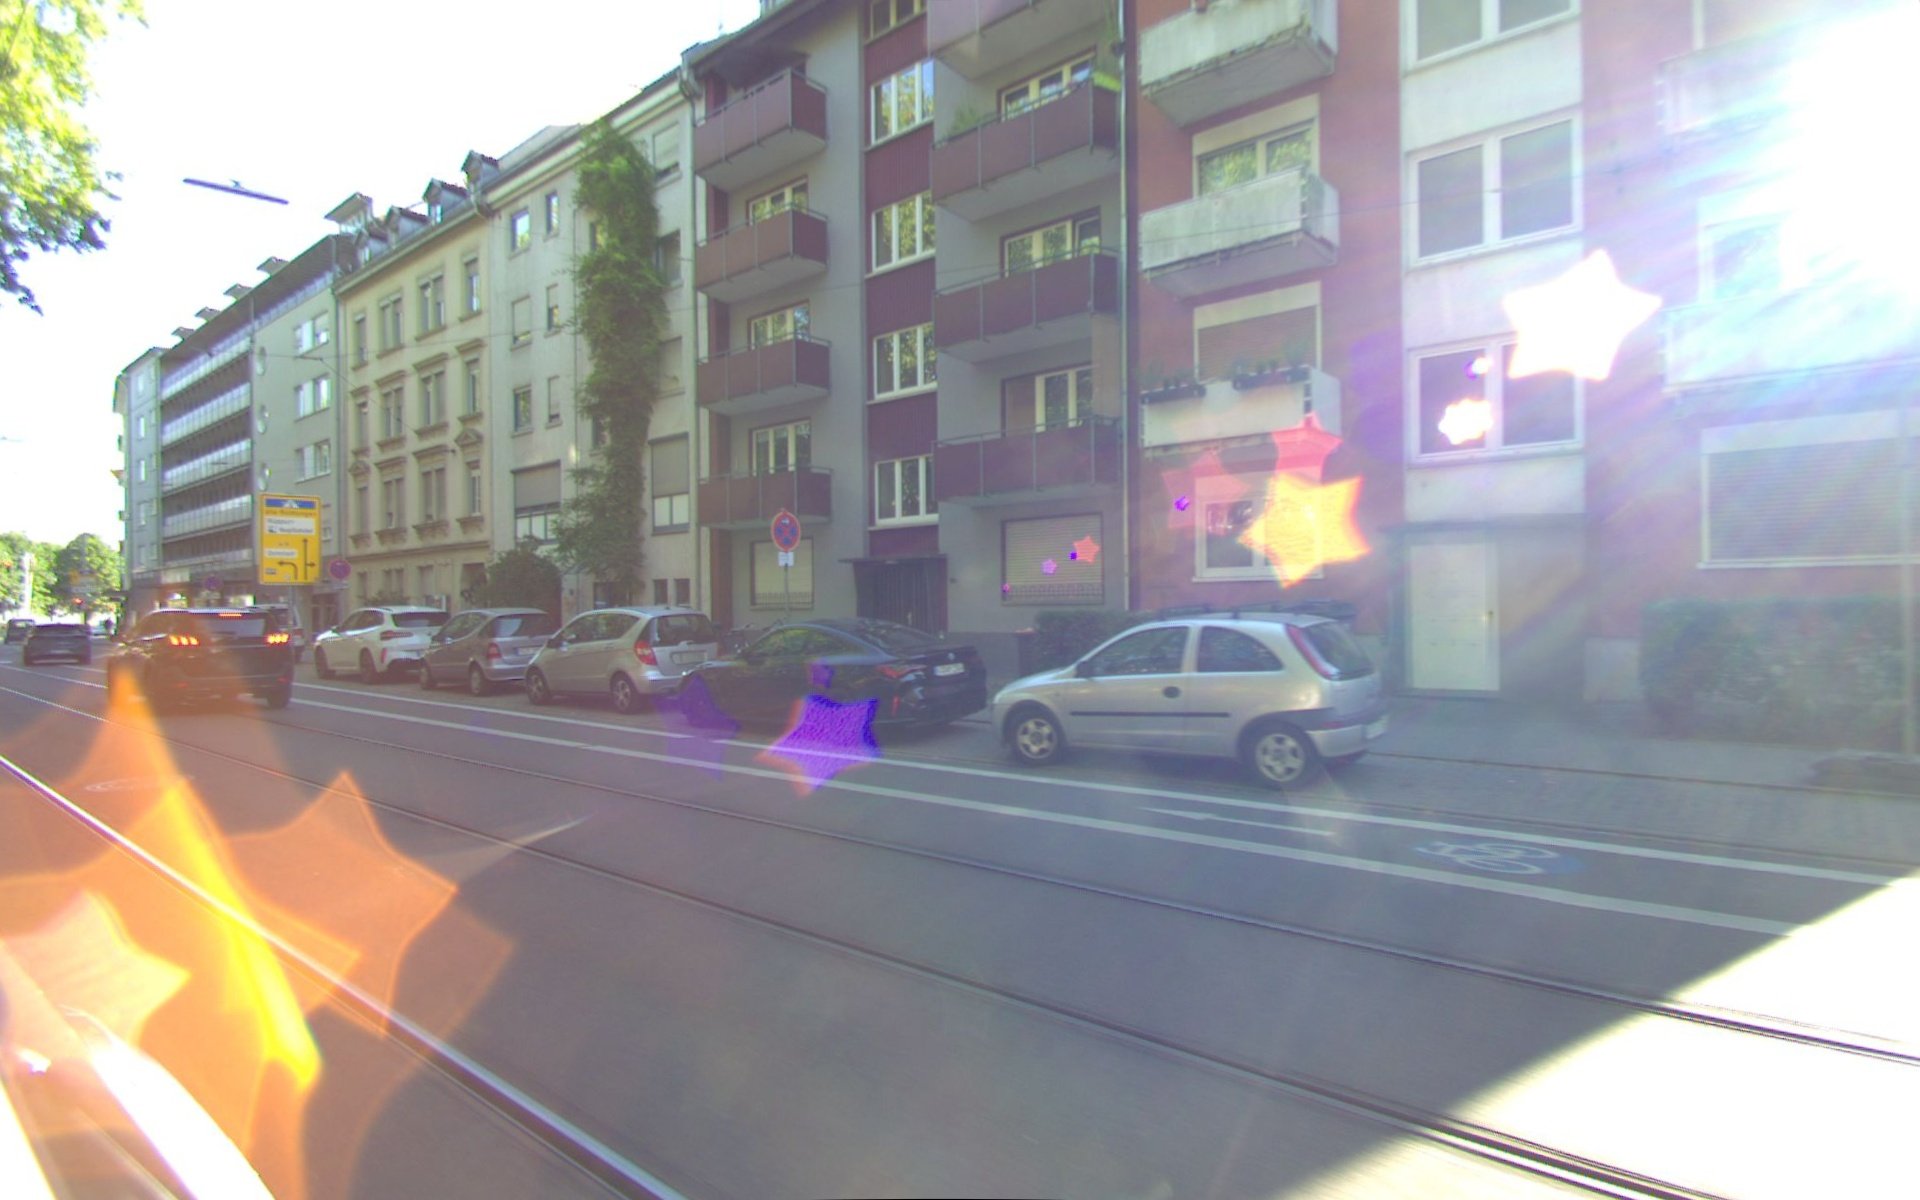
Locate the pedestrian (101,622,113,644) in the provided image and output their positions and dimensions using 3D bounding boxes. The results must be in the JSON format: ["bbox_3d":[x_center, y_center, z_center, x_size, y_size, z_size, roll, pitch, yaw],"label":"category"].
[{"bbox_3d":[-65.872,2.513,78.130,0.706,1.686,0.905,0,-1,-40],"label":"pedestrian"}]

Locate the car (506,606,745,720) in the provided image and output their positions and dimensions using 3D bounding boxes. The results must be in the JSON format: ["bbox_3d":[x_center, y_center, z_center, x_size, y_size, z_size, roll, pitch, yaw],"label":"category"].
[{"bbox_3d":[-5.521,0.951,16.504,4.000,1.599,1.802,-1,0,39],"label":"car"}]

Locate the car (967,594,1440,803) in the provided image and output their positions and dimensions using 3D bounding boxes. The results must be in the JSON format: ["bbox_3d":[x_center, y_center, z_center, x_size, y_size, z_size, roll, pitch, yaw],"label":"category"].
[{"bbox_3d":[2.144,0.768,9.465,3.926,1.494,1.708,-1,1,40],"label":"car"}]

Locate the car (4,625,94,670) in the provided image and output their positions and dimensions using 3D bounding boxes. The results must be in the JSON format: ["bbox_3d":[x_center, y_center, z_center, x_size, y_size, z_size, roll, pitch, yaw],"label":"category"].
[{"bbox_3d":[-31.120,1.581,34.541,4.050,1.457,1.777,-2,-2,41],"label":"car"}]

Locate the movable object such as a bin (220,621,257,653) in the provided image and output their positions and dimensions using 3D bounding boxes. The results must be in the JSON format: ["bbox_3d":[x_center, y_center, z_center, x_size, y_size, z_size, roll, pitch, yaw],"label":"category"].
[{"bbox_3d":[-34.383,1.761,48.220,1.212,1.461,1.129,-2,-1,36],"label":"movable object such as a bin"}]

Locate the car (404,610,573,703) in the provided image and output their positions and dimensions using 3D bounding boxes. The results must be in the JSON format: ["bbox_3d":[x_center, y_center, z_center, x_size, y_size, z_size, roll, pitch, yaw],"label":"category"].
[{"bbox_3d":[-9.240,1.018,19.715,3.780,1.583,1.609,-1,1,42],"label":"car"}]

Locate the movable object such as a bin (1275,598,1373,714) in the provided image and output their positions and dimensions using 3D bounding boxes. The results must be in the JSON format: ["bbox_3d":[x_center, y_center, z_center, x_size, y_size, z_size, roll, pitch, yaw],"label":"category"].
[{"bbox_3d":[4.581,0.679,12.722,0.747,1.375,1.198,-1,-1,42],"label":"movable object such as a bin"}]

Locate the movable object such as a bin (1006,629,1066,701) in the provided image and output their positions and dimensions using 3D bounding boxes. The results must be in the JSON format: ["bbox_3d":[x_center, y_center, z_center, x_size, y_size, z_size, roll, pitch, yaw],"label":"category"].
[{"bbox_3d":[1.154,0.977,15.417,0.721,1.056,0.559,-1,-1,42],"label":"movable object such as a bin"}]

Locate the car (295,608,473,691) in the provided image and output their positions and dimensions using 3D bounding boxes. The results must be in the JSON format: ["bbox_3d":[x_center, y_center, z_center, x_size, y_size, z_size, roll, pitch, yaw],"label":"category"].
[{"bbox_3d":[-13.272,1.058,23.194,4.877,1.661,1.933,-1,1,40],"label":"car"}]

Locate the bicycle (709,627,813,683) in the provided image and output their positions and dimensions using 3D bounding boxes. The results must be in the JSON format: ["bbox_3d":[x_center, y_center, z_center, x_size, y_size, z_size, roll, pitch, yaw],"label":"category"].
[{"bbox_3d":[-4.237,1.149,21.713,0.698,1.000,2.268,-1,1,37],"label":"bicycle"}]

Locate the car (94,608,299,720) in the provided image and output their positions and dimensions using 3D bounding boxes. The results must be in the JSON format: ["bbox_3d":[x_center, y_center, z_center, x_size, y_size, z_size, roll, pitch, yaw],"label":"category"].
[{"bbox_3d":[-12.733,0.964,16.772,4.461,1.612,1.834,-1,-1,41],"label":"car"}]

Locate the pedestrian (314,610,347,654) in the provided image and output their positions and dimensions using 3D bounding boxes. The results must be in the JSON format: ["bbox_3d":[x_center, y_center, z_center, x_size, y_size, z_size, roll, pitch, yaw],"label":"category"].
[{"bbox_3d":[-26.669,1.342,42.883,0.729,1.827,0.953,-2,1,41],"label":"pedestrian"}]

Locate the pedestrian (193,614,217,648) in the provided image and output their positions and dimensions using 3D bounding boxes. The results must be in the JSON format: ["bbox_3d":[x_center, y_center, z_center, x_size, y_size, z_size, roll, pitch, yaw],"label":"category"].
[{"bbox_3d":[-40.488,1.652,54.257,0.819,1.726,0.779,-2,2,40],"label":"pedestrian"}]

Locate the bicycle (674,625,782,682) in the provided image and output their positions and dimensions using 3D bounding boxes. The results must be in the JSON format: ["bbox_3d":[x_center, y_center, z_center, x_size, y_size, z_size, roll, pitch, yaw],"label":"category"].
[{"bbox_3d":[-5.105,1.148,22.468,0.698,1.070,2.428,-1,1,37],"label":"bicycle"}]

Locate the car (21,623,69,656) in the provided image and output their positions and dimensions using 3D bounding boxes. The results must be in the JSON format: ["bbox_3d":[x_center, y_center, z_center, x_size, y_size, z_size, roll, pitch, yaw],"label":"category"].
[{"bbox_3d":[-47.595,2.021,52.688,1.774,1.456,4.723,1,1,-42],"label":"car"}]

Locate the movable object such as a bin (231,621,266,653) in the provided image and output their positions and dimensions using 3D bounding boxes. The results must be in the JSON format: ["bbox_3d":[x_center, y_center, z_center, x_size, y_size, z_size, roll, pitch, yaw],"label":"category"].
[{"bbox_3d":[-33.386,1.736,47.495,1.208,1.461,1.047,-2,-1,36],"label":"movable object such as a bin"}]

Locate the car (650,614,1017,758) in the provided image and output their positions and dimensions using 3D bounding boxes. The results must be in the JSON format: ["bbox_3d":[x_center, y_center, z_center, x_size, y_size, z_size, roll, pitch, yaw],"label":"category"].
[{"bbox_3d":[-1.792,0.967,13.051,4.861,1.405,1.932,-1,2,42],"label":"car"}]

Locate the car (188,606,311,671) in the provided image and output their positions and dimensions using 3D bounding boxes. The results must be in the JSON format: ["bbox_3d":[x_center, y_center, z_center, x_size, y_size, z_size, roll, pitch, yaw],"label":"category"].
[{"bbox_3d":[-21.481,1.147,30.542,4.464,1.784,1.772,-2,0,38],"label":"car"}]
